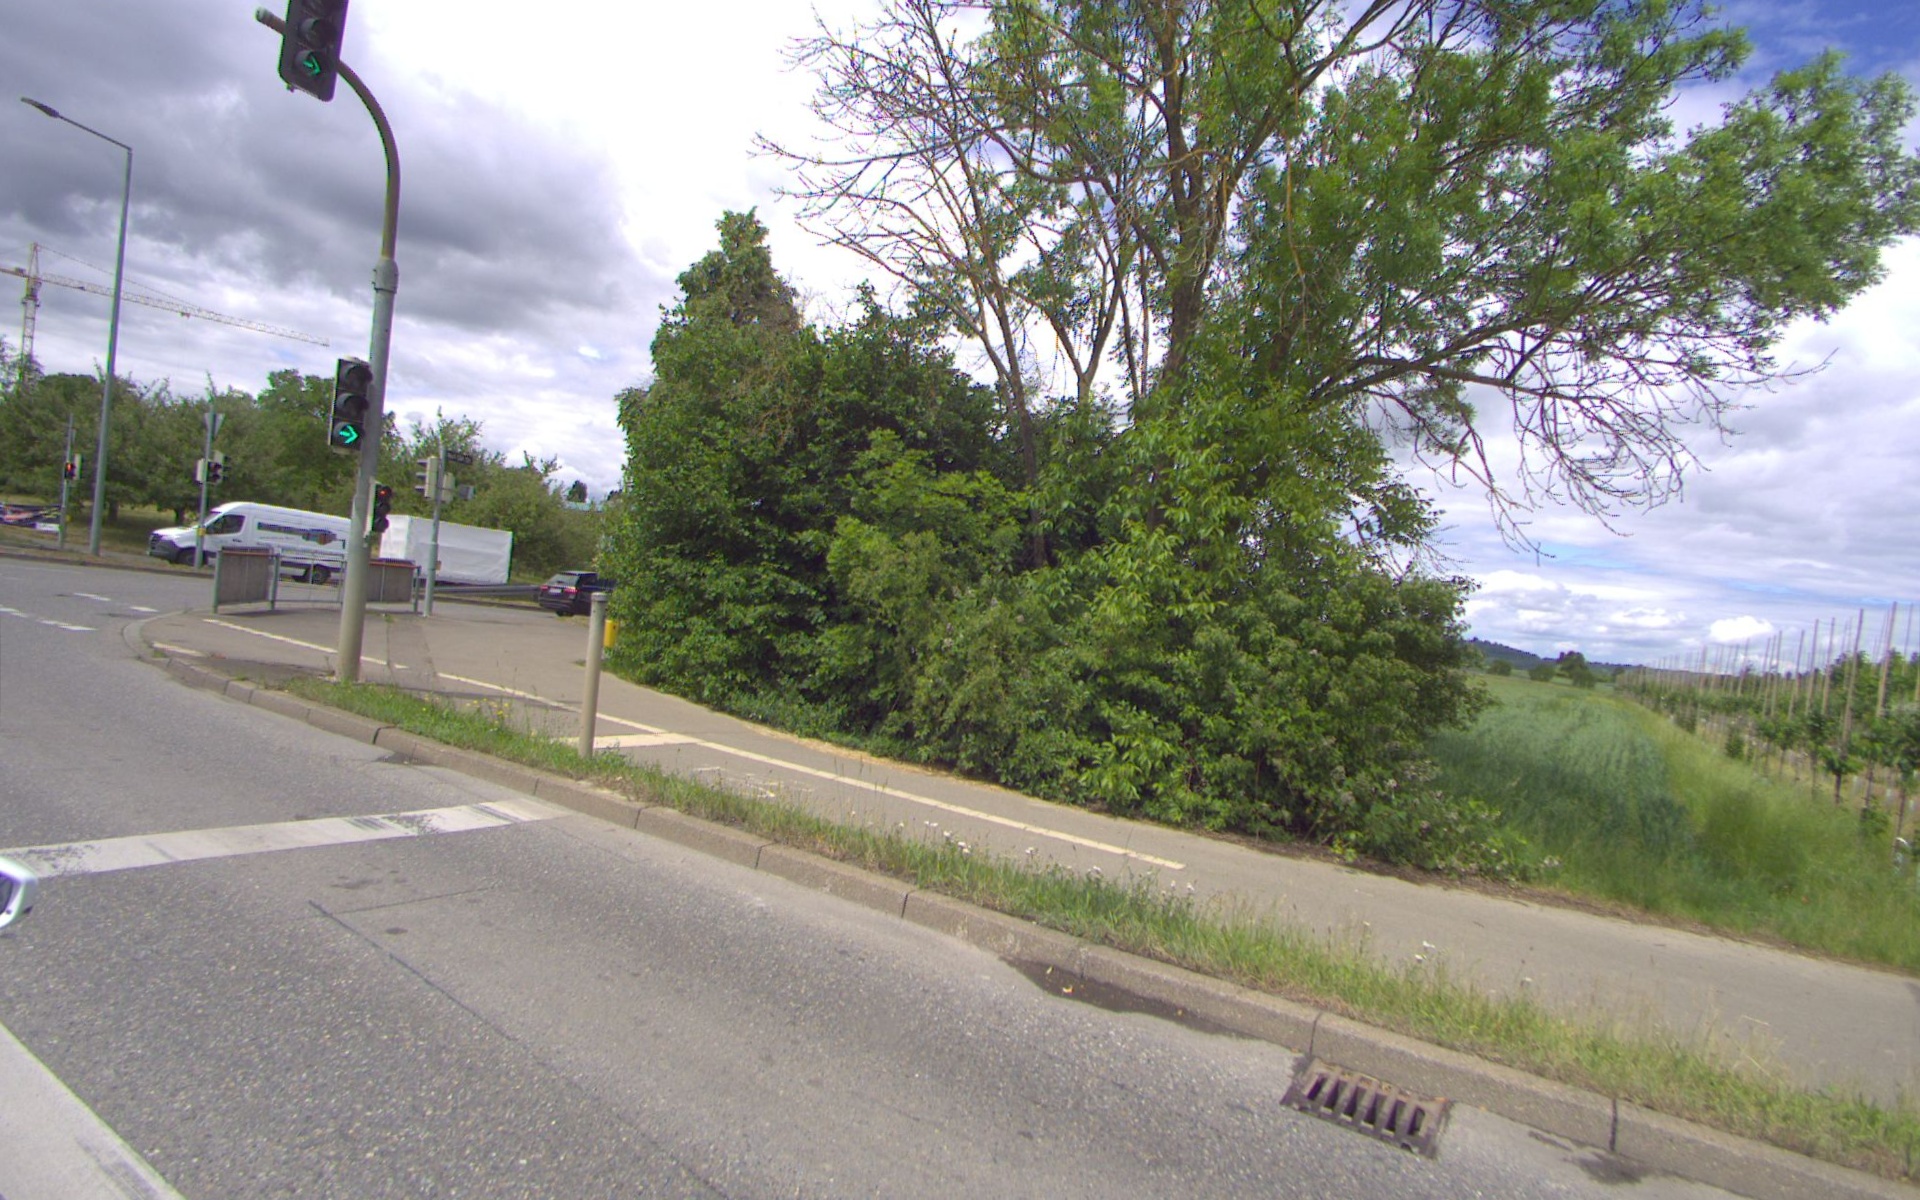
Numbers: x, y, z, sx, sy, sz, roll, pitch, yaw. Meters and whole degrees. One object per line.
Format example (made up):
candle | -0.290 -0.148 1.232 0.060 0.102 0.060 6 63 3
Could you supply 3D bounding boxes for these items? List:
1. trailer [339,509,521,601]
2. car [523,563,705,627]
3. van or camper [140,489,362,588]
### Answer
trailer | -20.769 -1.702 39.648 2.217 2.841 5.755 7 0 43
car | -10.457 -0.101 30.836 1.848 1.459 5.186 7 0 32
van or camper | -24.772 -2.093 35.357 2.219 2.563 5.906 7 -1 43
